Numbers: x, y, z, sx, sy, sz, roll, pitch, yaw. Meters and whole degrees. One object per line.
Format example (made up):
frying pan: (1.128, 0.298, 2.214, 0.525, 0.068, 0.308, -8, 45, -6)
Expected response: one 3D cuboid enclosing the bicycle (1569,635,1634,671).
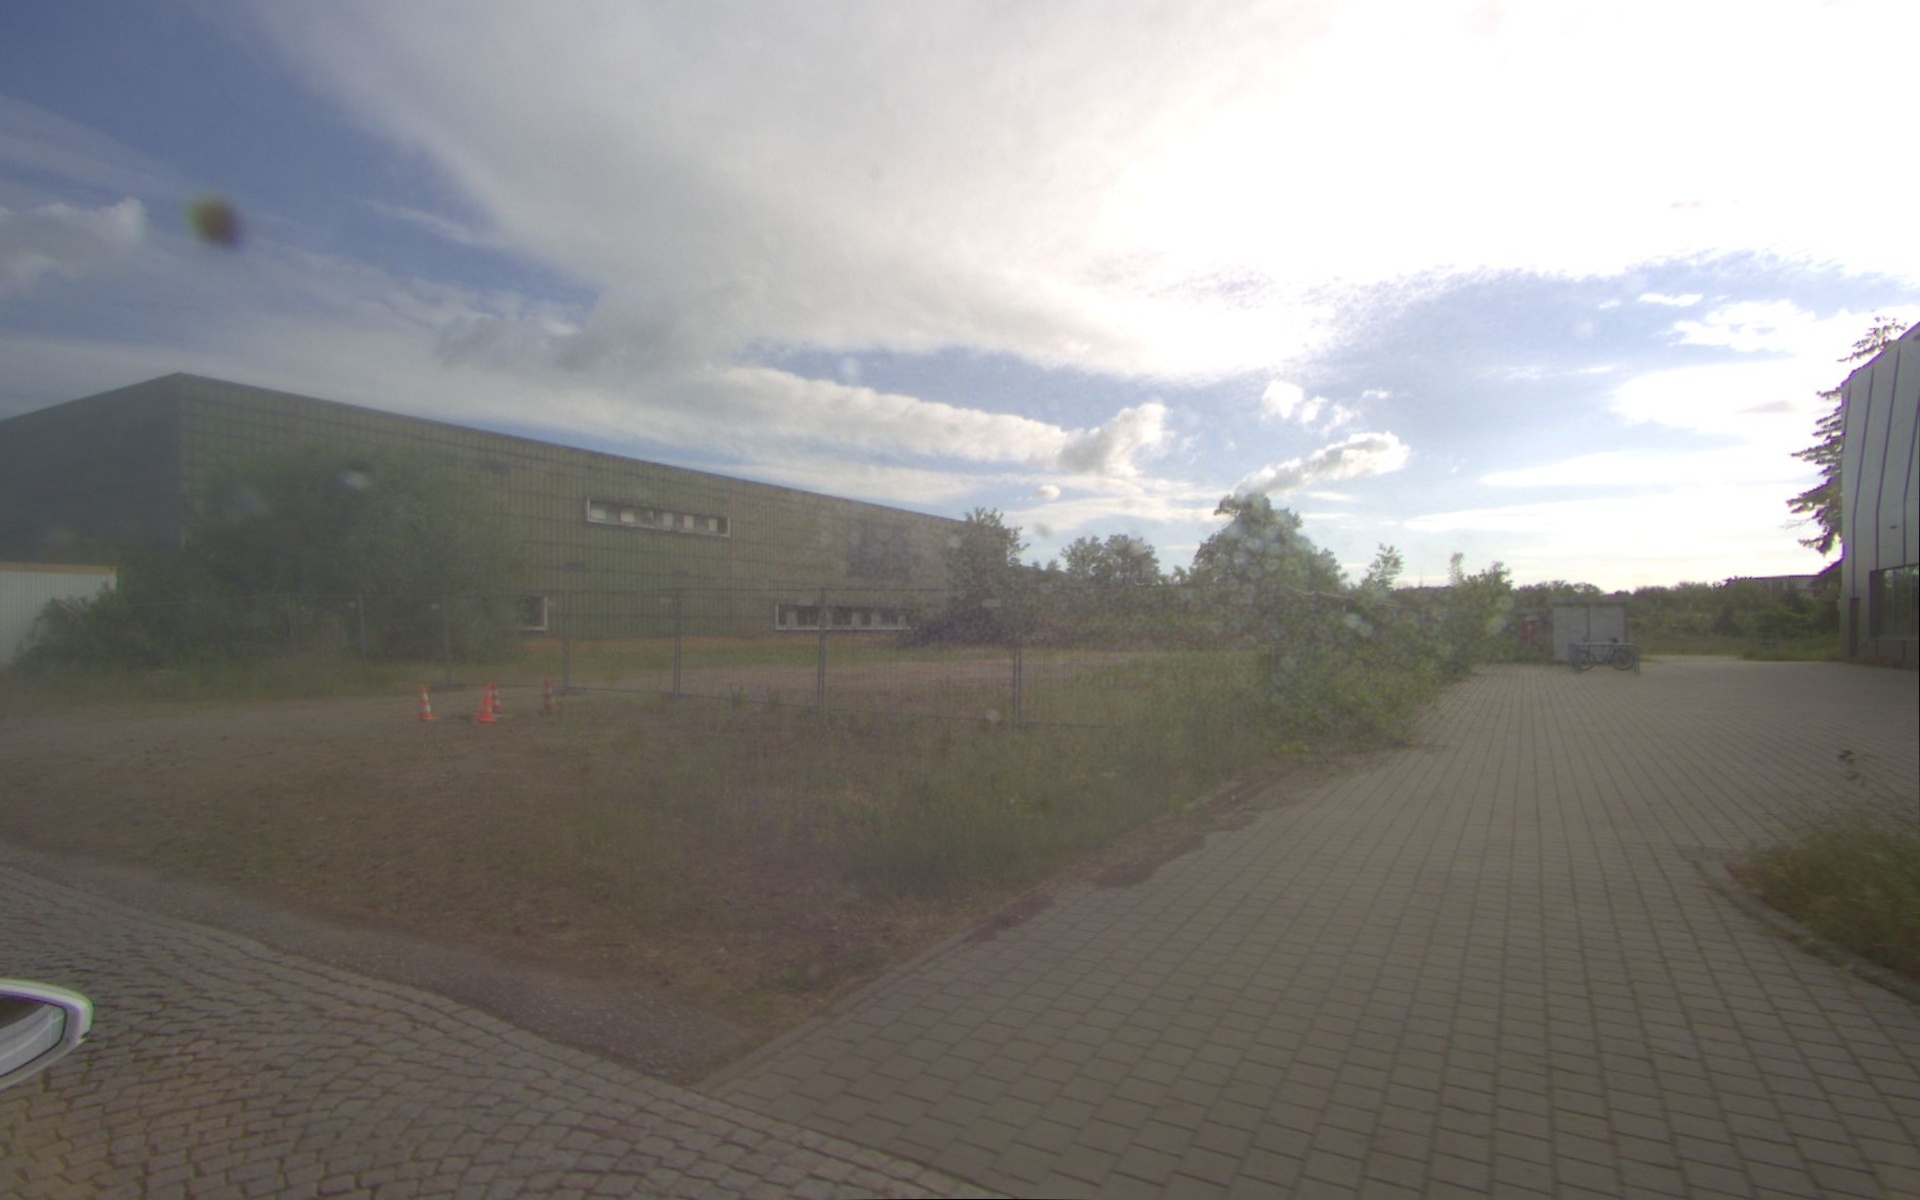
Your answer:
bicycle: (20.403, 1.675, 31.877, 1.738, 1.112, 0.520, -1, -3, 32)
